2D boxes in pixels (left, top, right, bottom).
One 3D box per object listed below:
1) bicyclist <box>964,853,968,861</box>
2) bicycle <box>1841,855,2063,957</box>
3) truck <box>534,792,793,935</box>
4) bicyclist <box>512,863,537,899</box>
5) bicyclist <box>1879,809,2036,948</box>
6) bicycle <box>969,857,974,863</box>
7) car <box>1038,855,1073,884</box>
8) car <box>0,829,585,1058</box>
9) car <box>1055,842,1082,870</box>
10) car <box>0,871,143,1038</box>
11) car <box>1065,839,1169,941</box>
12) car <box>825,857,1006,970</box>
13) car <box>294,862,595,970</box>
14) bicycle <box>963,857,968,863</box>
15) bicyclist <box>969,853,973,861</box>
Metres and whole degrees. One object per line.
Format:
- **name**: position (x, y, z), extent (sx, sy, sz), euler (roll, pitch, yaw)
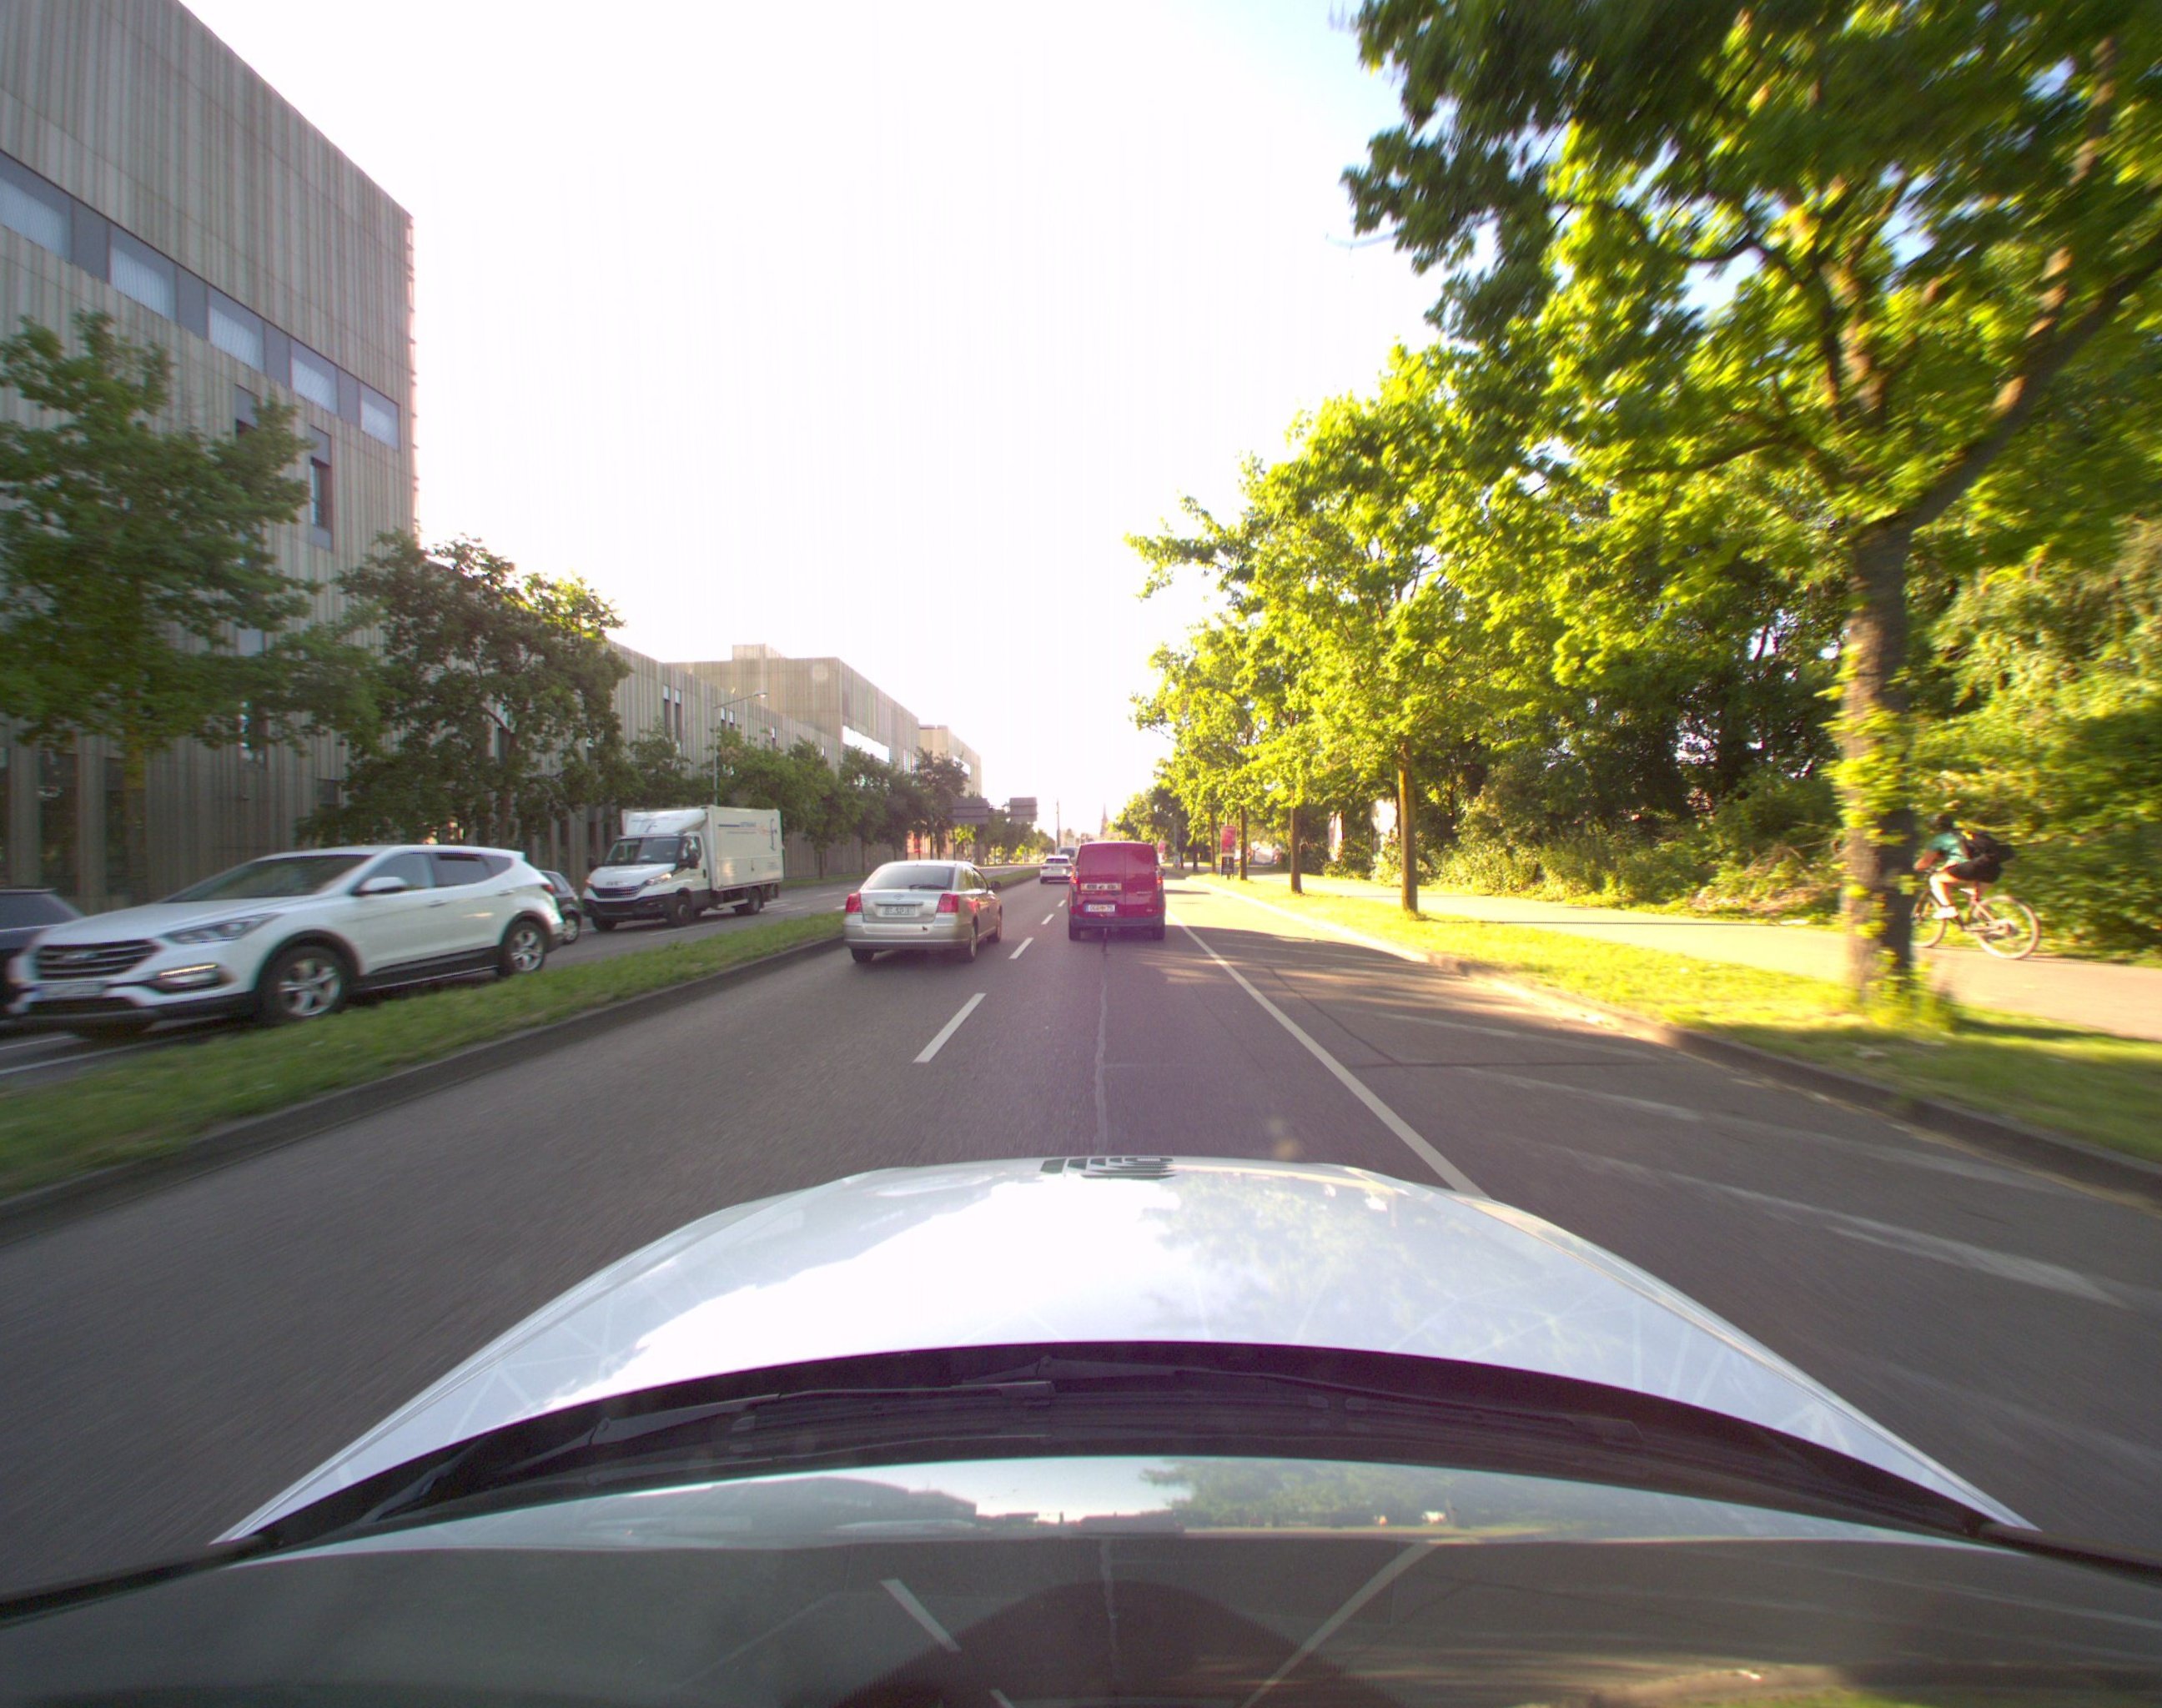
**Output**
- **bicyclist**: position (-20.465, 0.566, 144.627), extent (0.480, 1.395, 0.844), euler (-1, -1, 0)
- **bicycle**: position (10.182, 0.555, 9.642), extent (0.514, 1.072, 1.935), euler (-1, 0, -1)
- **truck**: position (-10.270, 0.220, 21.110), extent (2.675, 2.961, 7.118), euler (-3, 0, 2)
- **bicyclist**: position (-23.209, 1.118, 33.961), extent (0.505, 1.442, 0.753), euler (-1, 0, 1)
- **bicyclist**: position (10.188, 0.268, 9.514), extent (0.683, 1.522, 1.035), euler (-1, 0, -2)
- **bicycle**: position (-19.518, 1.007, 144.686), extent (0.568, 1.003, 2.096), euler (-1, -1, 1)
- **car**: position (-1.305, 0.789, 42.776), extent (1.655, 1.398, 3.559), euler (-1, 0, 1)
- **car**: position (-7.657, 0.706, 8.591), extent (1.817, 1.682, 4.660), euler (-3, 0, 2)
- **car**: position (-0.852, 0.133, 57.230), extent (1.655, 1.856, 3.559), euler (-1, 0, 1)
- **car**: position (-10.492, 0.946, 6.517), extent (1.614, 1.469, 3.642), euler (-3, 0, 2)
- **car**: position (0.676, 0.623, 16.067), extent (1.799, 1.759, 4.007), euler (0, 0, 1)
- **car**: position (-2.354, 0.786, 12.729), extent (1.834, 1.456, 4.164), euler (0, 0, 2)
- **car**: position (-10.458, 0.926, 13.852), extent (1.828, 1.424, 4.002), euler (-2, 0, 2)
- **bicycle**: position (-20.454, 1.015, 144.577), extent (0.485, 1.003, 2.096), euler (-1, -1, 1)
- **bicyclist**: position (-19.534, 0.528, 144.558), extent (0.560, 1.392, 0.747), euler (-1, -1, 0)
